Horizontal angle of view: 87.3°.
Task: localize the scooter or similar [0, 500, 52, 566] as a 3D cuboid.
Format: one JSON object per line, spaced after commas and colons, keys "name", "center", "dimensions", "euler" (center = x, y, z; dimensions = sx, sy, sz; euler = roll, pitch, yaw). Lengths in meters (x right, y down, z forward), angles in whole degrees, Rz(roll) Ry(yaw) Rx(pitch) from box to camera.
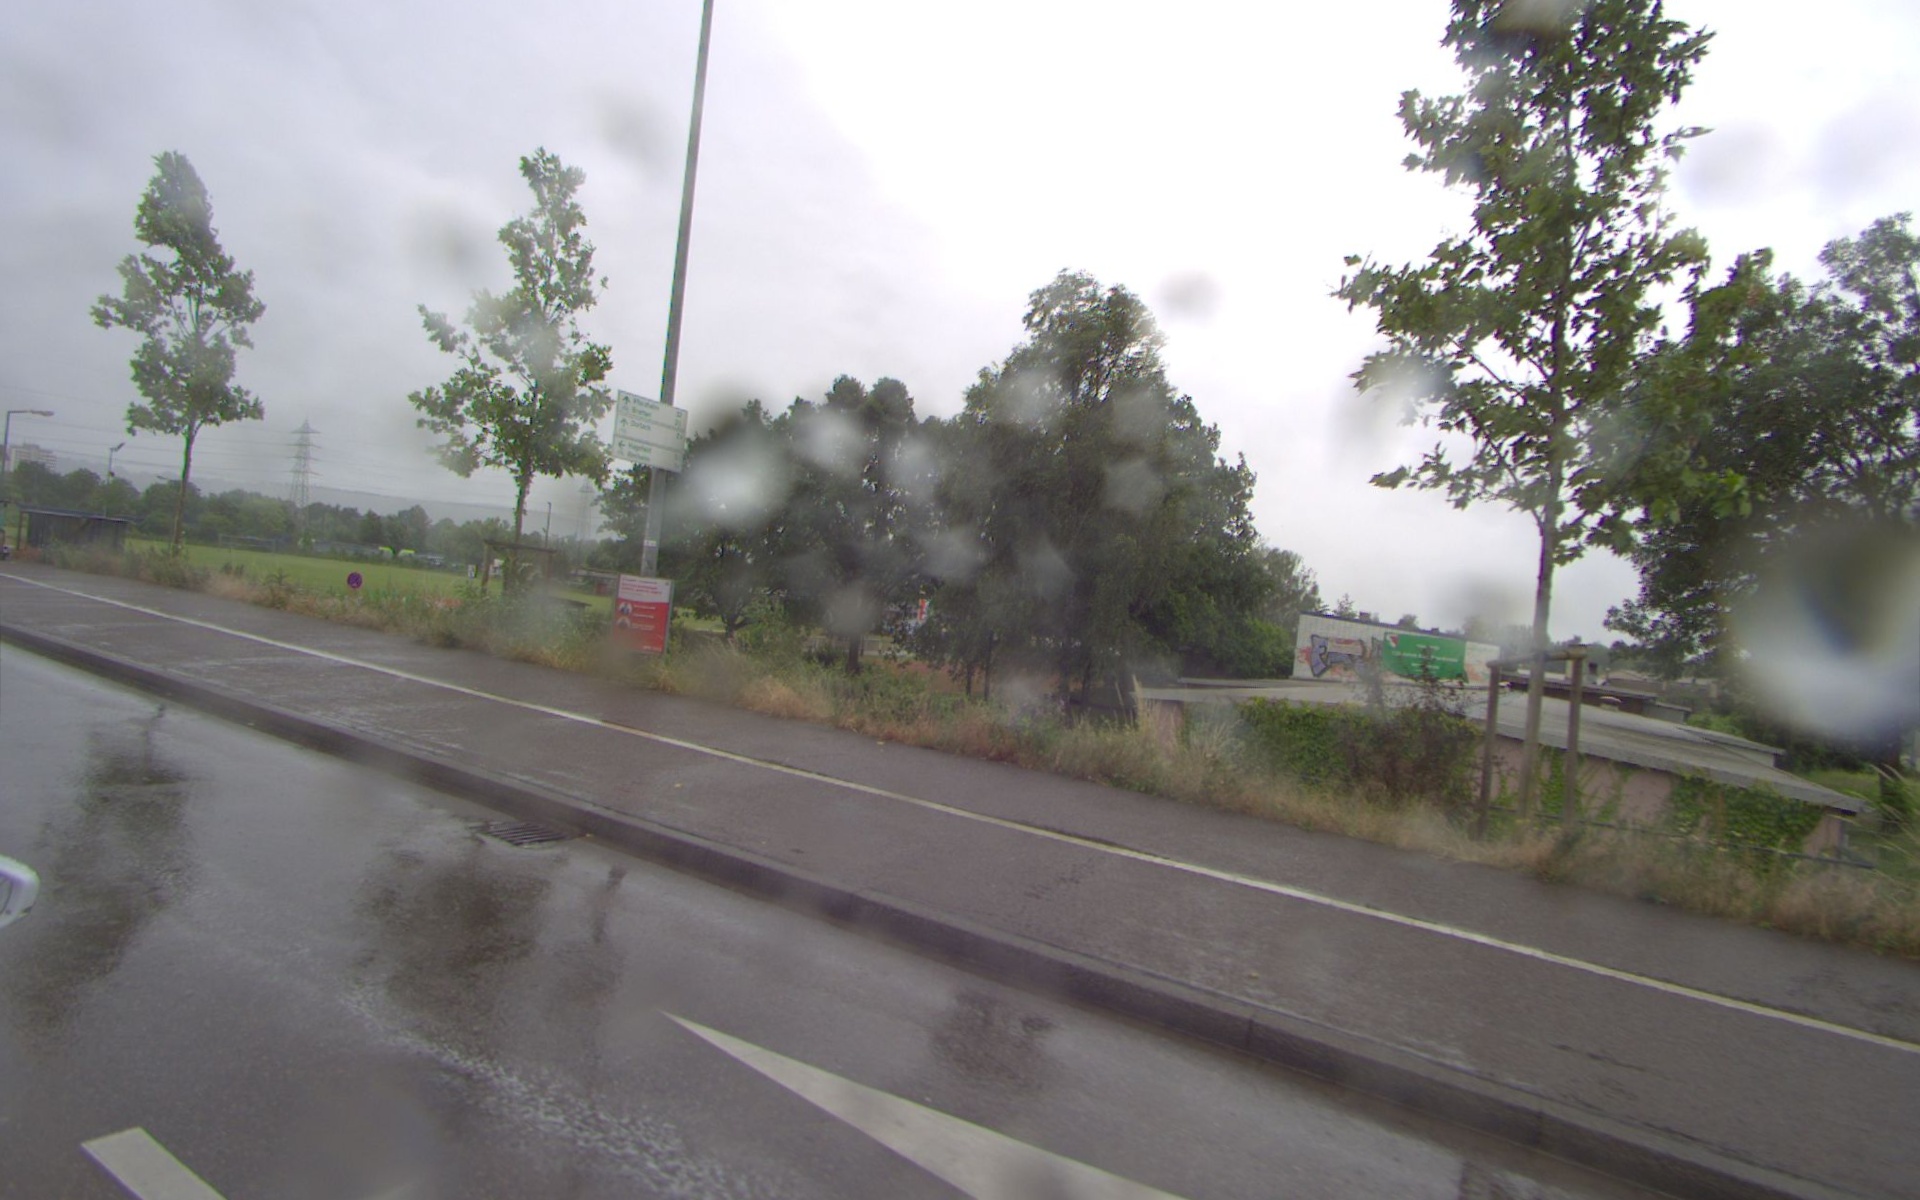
{"name": "scooter or similar", "center": [-20.044, -1.462, 21.085], "dimensions": [2.971, 1.226, 0.691], "euler": [7, 0, 33]}
